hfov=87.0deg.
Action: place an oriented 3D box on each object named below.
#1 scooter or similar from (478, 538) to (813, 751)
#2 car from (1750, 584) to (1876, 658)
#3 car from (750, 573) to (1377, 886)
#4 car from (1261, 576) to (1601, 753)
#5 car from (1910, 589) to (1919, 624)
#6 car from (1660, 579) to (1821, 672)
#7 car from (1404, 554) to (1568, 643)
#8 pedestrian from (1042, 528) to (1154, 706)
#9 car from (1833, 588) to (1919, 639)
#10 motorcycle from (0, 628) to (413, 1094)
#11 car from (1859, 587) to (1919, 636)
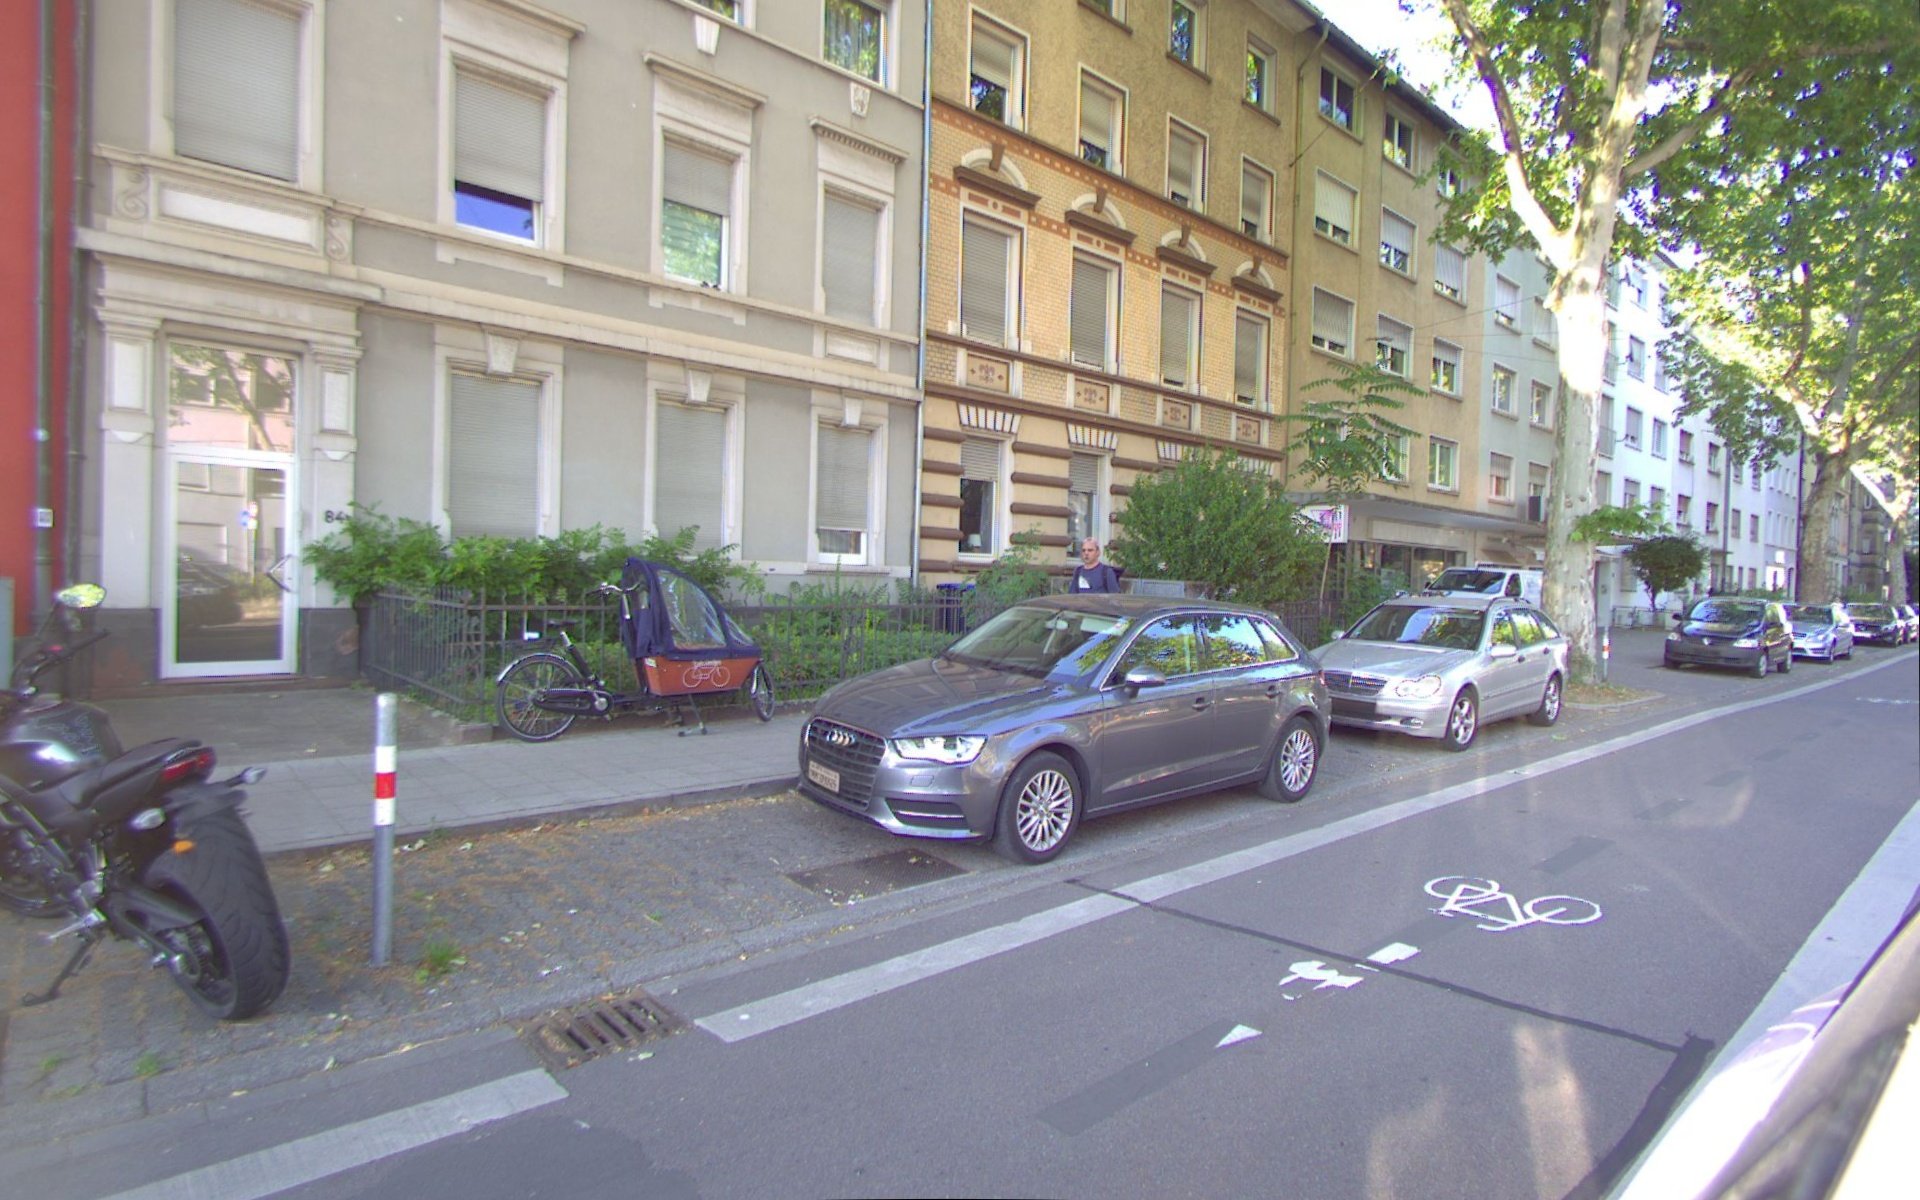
[{"bbox_3d":[-2.428,0.297,8.117,2.500,1.488,0.666,0,2,-41],"label":"scooter or similar"},{"bbox_3d":[21.814,0.473,25.829,4.295,1.628,1.802,0,4,-42],"label":"car"},{"bbox_3d":[0.925,0.605,6.968,4.293,1.418,1.802,0,4,-41],"label":"car"},{"bbox_3d":[5.324,0.548,11.145,4.436,1.472,1.801,0,4,-43],"label":"car"},{"bbox_3d":[46.713,0.363,48.125,4.034,1.628,1.802,0,4,-42],"label":"car"},{"bbox_3d":[16.125,0.453,20.832,4.295,1.628,1.802,0,4,-42],"label":"car"},{"bbox_3d":[12.793,-0.073,24.490,4.597,1.897,1.932,0,4,-42],"label":"car"},{"bbox_3d":[1.431,0.146,10.507,0.802,1.731,0.728,-1,4,-41],"label":"pedestrian"},{"bbox_3d":[31.396,0.414,34.561,4.295,1.520,1.802,0,4,-42],"label":"car"},{"bbox_3d":[-3.025,0.757,3.579,2.188,1.124,0.659,4,2,23],"label":"motorcycle"},{"bbox_3d":[35.275,0.393,37.929,4.295,1.628,1.802,0,4,-42],"label":"car"}]
